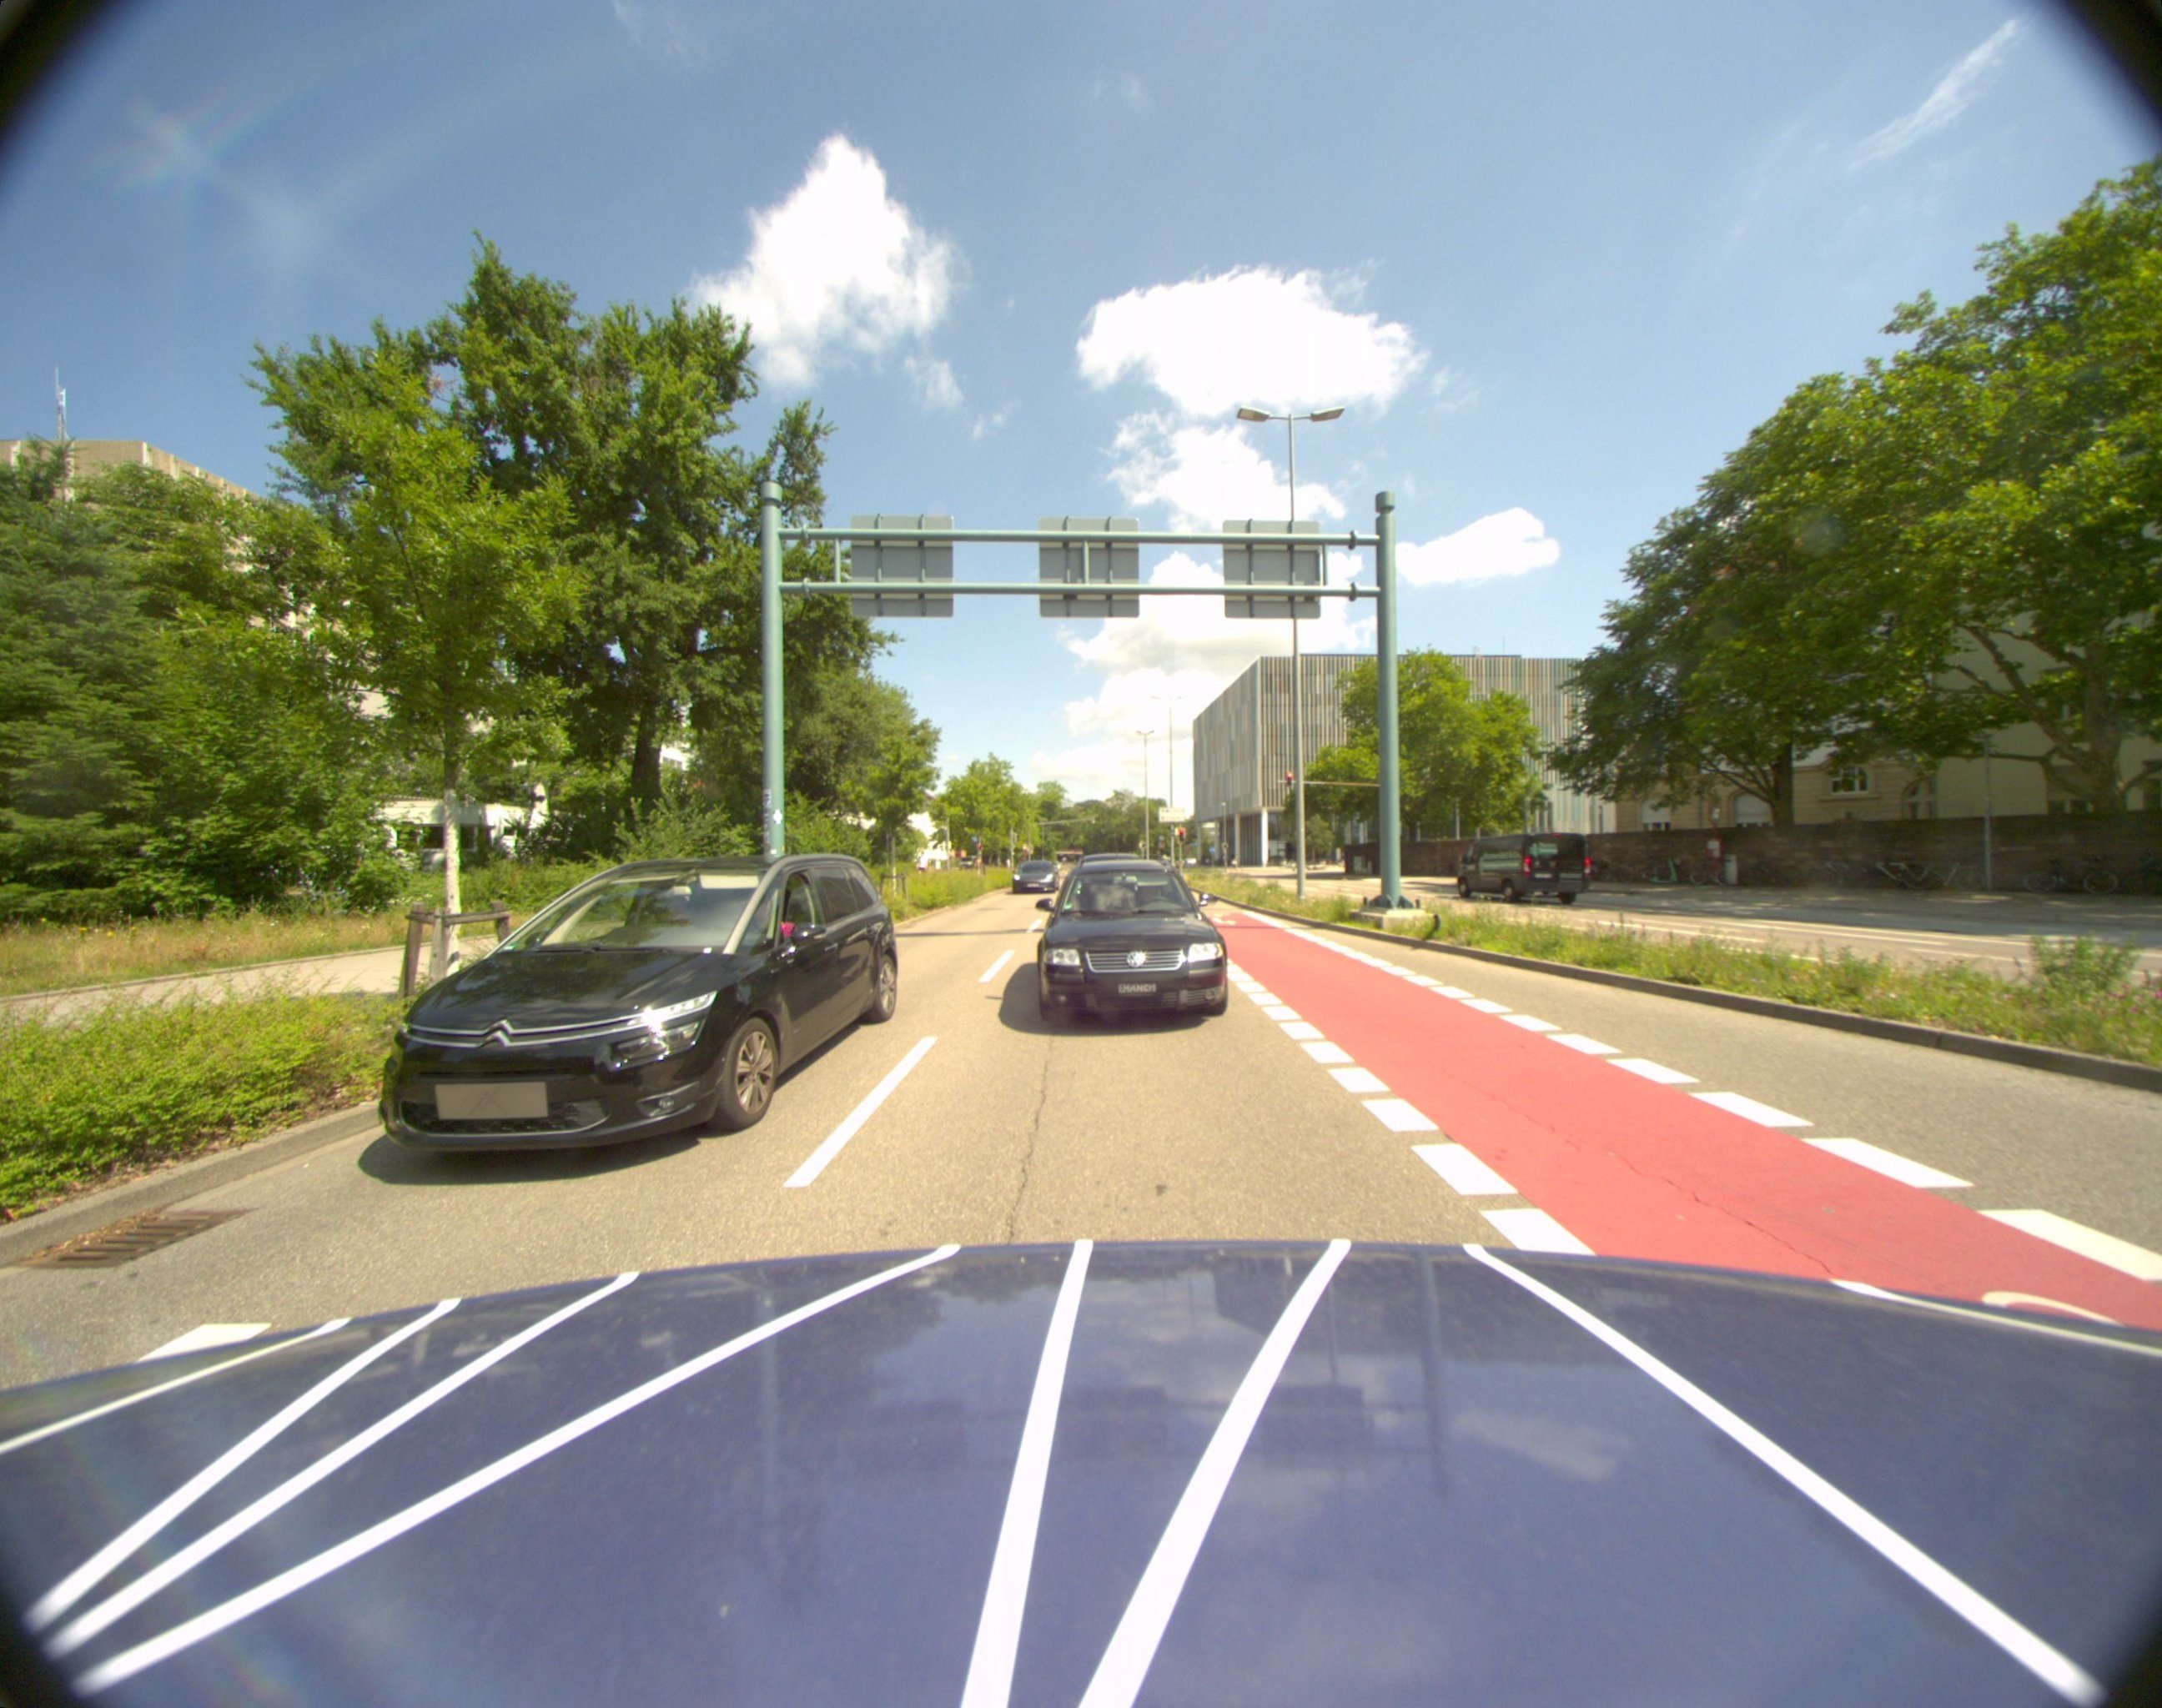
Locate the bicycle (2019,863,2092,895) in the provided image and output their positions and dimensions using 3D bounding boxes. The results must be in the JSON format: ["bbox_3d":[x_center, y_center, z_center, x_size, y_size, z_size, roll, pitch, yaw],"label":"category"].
[{"bbox_3d":[26.651,0.675,20.795,0.265,0.826,1.234,-1,0,-13],"label":"bicycle"}]

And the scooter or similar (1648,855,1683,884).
[{"bbox_3d":[23.866,0.629,31.043,0.265,1.182,1.234,-1,0,-11],"label":"scooter or similar"}]

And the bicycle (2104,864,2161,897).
[{"bbox_3d":[27.117,0.674,19.363,0.265,0.826,1.234,-1,0,-13],"label":"bicycle"}]

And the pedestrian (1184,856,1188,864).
[{"bbox_3d":[18.026,1.007,130.105,0.696,1.445,0.689,-1,0,5],"label":"pedestrian"}]

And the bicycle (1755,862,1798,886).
[{"bbox_3d":[25.178,0.714,27.536,0.265,0.826,1.235,-1,0,-11],"label":"bicycle"}]

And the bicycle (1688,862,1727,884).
[{"bbox_3d":[24.808,0.747,30.096,0.265,0.826,1.233,-1,0,-21],"label":"bicycle"}]

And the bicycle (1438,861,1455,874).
[{"bbox_3d":[22.476,0.830,46.683,0.265,0.826,1.235,-1,0,-11],"label":"bicycle"}]

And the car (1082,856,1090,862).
[{"bbox_3d":[1.381,1.476,212.315,1.758,1.581,4.275,-1,0,-4],"label":"car"}]

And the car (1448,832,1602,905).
[{"bbox_3d":[14.599,0.465,25.421,2.153,2.162,5.018,1,0,0],"label":"car"}]

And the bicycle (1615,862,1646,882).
[{"bbox_3d":[24.137,0.778,33.387,0.265,0.826,1.235,-1,0,-11],"label":"bicycle"}]

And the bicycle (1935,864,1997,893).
[{"bbox_3d":[26.232,0.728,22.545,0.265,0.826,1.235,-1,0,-11],"label":"bicycle"}]

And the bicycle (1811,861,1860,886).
[{"bbox_3d":[25.673,0.666,25.867,0.265,0.826,1.235,-1,0,-11],"label":"bicycle"}]

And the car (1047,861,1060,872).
[{"bbox_3d":[-4.338,1.963,122.149,1.816,1.598,4.479,-3,0,1],"label":"car"}]

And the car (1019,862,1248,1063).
[{"bbox_3d":[0.442,0.871,8.236,1.723,1.472,4.594,-3,0,1],"label":"car"}]

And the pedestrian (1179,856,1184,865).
[{"bbox_3d":[16.529,1.044,125.144,0.696,1.445,0.689,-1,0,5],"label":"pedestrian"}]

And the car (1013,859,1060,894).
[{"bbox_3d":[-1.913,0.965,33.763,1.806,1.361,4.157,-1,1,1],"label":"car"}]

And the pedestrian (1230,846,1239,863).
[{"bbox_3d":[19.011,0.077,93.990,0.864,2.002,0.995,-1,0,-1],"label":"pedestrian"}]

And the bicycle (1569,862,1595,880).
[{"bbox_3d":[23.865,0.787,36.217,0.265,0.826,1.235,-1,0,-11],"label":"bicycle"}]

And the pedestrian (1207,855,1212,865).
[{"bbox_3d":[19.619,0.892,115.606,0.696,1.445,0.689,-1,0,6],"label":"pedestrian"}]

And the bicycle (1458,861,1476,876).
[{"bbox_3d":[22.741,0.839,44.760,0.265,0.826,1.235,-1,0,-11],"label":"bicycle"}]

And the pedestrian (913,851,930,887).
[{"bbox_3d":[-9.191,0.868,43.880,0.846,2.026,0.901,-1,0,-7],"label":"pedestrian"}]

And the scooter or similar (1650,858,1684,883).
[{"bbox_3d":[24.564,0.691,31.867,0.266,1.014,1.140,-1,0,-22],"label":"scooter or similar"}]

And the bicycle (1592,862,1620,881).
[{"bbox_3d":[24.065,0.790,34.862,0.265,0.826,1.235,-1,0,-11],"label":"bicycle"}]

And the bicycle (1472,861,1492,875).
[{"bbox_3d":[22.917,0.788,43.446,0.265,0.826,1.234,-1,0,-11],"label":"bicycle"}]

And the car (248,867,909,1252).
[{"bbox_3d":[-2.762,0.961,5.644,1.816,1.598,4.479,-3,0,1],"label":"car"}]

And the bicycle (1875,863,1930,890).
[{"bbox_3d":[26.007,0.706,24.063,0.265,0.826,1.235,-1,0,-11],"label":"bicycle"}]

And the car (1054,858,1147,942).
[{"bbox_3d":[0.407,0.894,16.950,1.723,1.545,4.594,-3,0,1],"label":"car"}]

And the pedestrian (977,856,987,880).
[{"bbox_3d":[-7.382,1.055,56.641,0.640,1.754,0.885,-1,0,-15],"label":"pedestrian"}]
